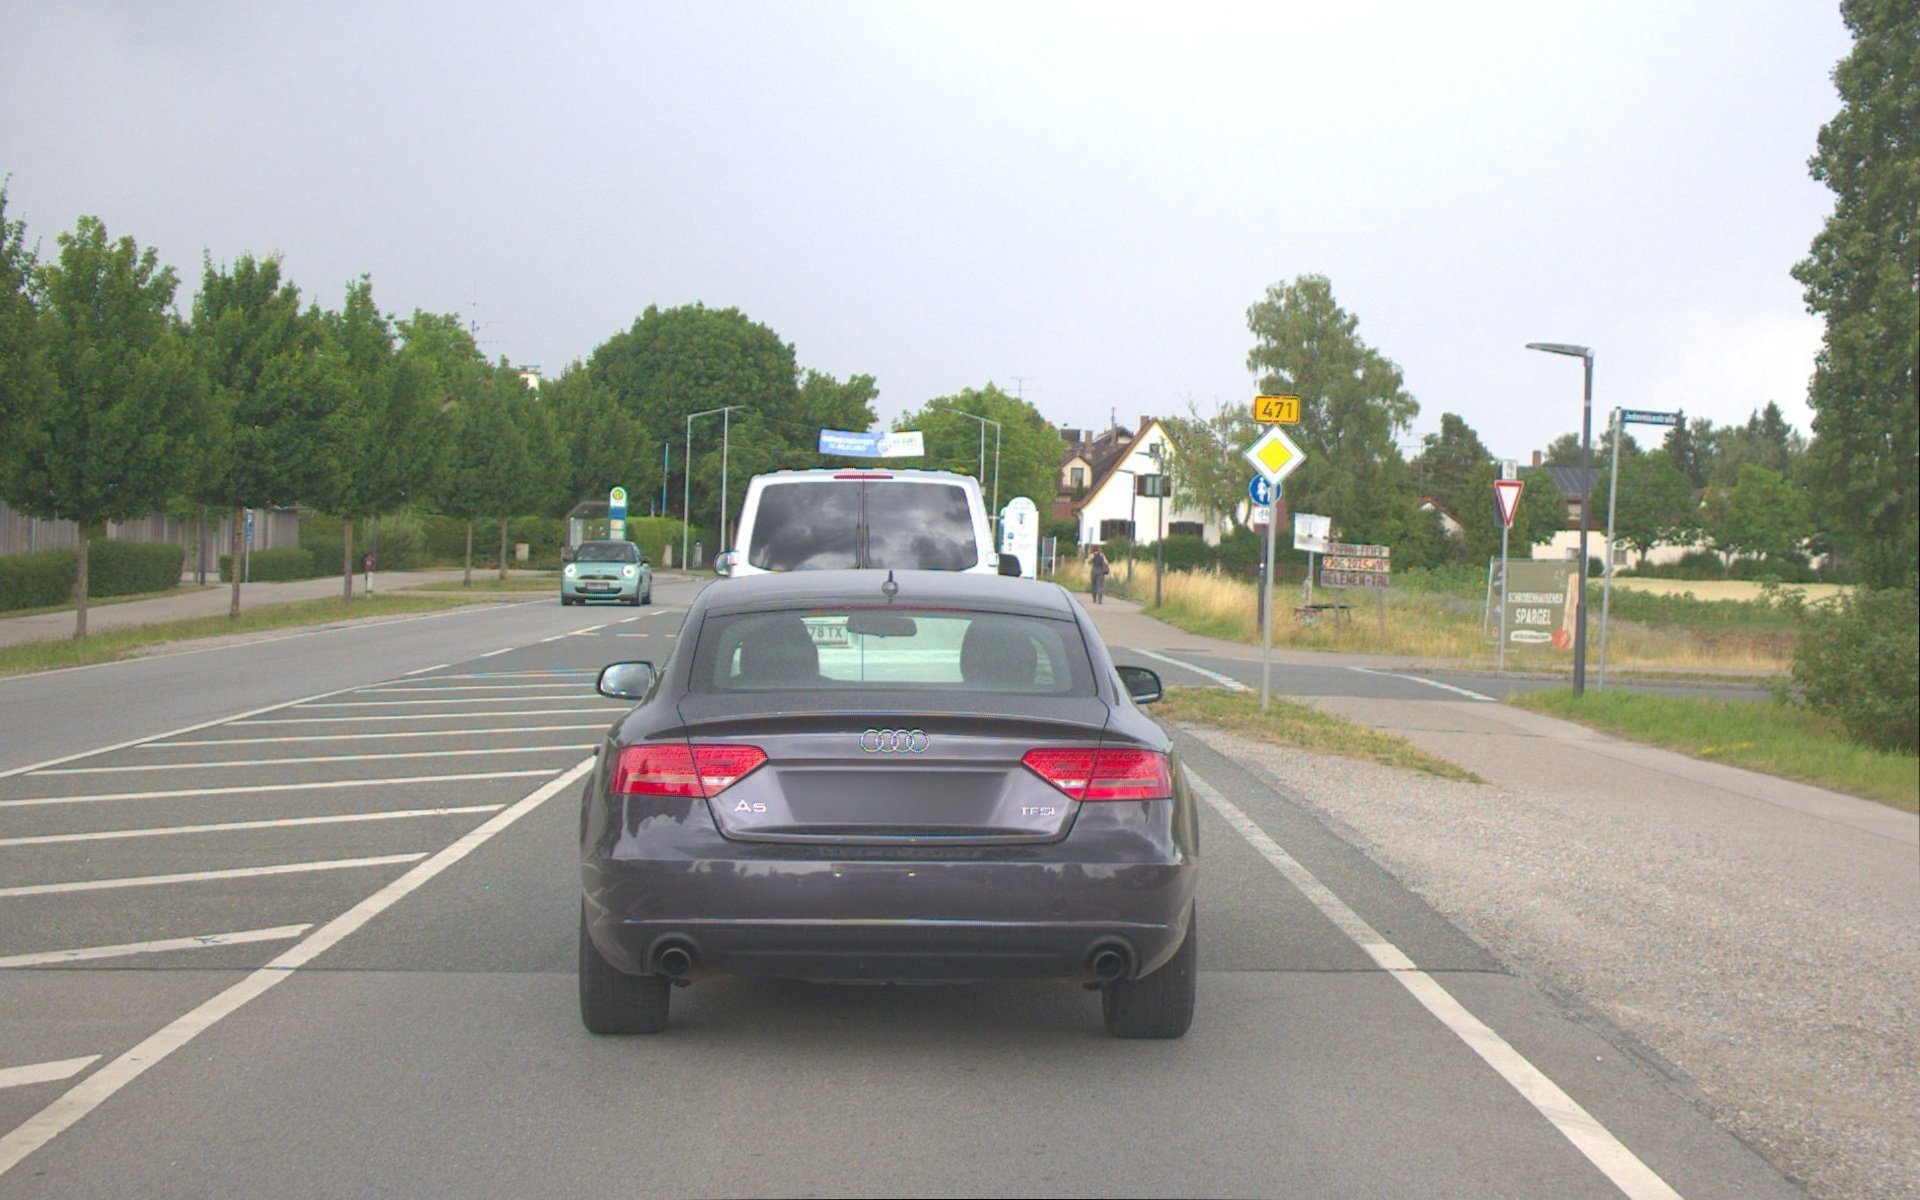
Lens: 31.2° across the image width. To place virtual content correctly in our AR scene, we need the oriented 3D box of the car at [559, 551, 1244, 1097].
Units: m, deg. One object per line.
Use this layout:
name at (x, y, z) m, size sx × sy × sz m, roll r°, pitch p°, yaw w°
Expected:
car at (-0.335, 0.560, 11.341) m, size 1.825 × 1.384 × 4.388 m, roll 0°, pitch 2°, yaw -5°

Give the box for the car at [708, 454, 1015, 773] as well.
car at (-0.688, 0.037, 23.490) m, size 1.825 × 1.907 × 4.001 m, roll 3°, pitch 1°, yaw -2°

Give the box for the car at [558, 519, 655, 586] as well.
car at (-7.809, -1.076, 76.223) m, size 1.770 × 1.438 × 4.000 m, roll 0°, pitch 1°, yaw -1°

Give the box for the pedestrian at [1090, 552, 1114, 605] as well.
pedestrian at (4.091, -0.612, 98.969) m, size 0.623 × 1.519 × 0.680 m, roll 0°, pitch 1°, yaw -1°
